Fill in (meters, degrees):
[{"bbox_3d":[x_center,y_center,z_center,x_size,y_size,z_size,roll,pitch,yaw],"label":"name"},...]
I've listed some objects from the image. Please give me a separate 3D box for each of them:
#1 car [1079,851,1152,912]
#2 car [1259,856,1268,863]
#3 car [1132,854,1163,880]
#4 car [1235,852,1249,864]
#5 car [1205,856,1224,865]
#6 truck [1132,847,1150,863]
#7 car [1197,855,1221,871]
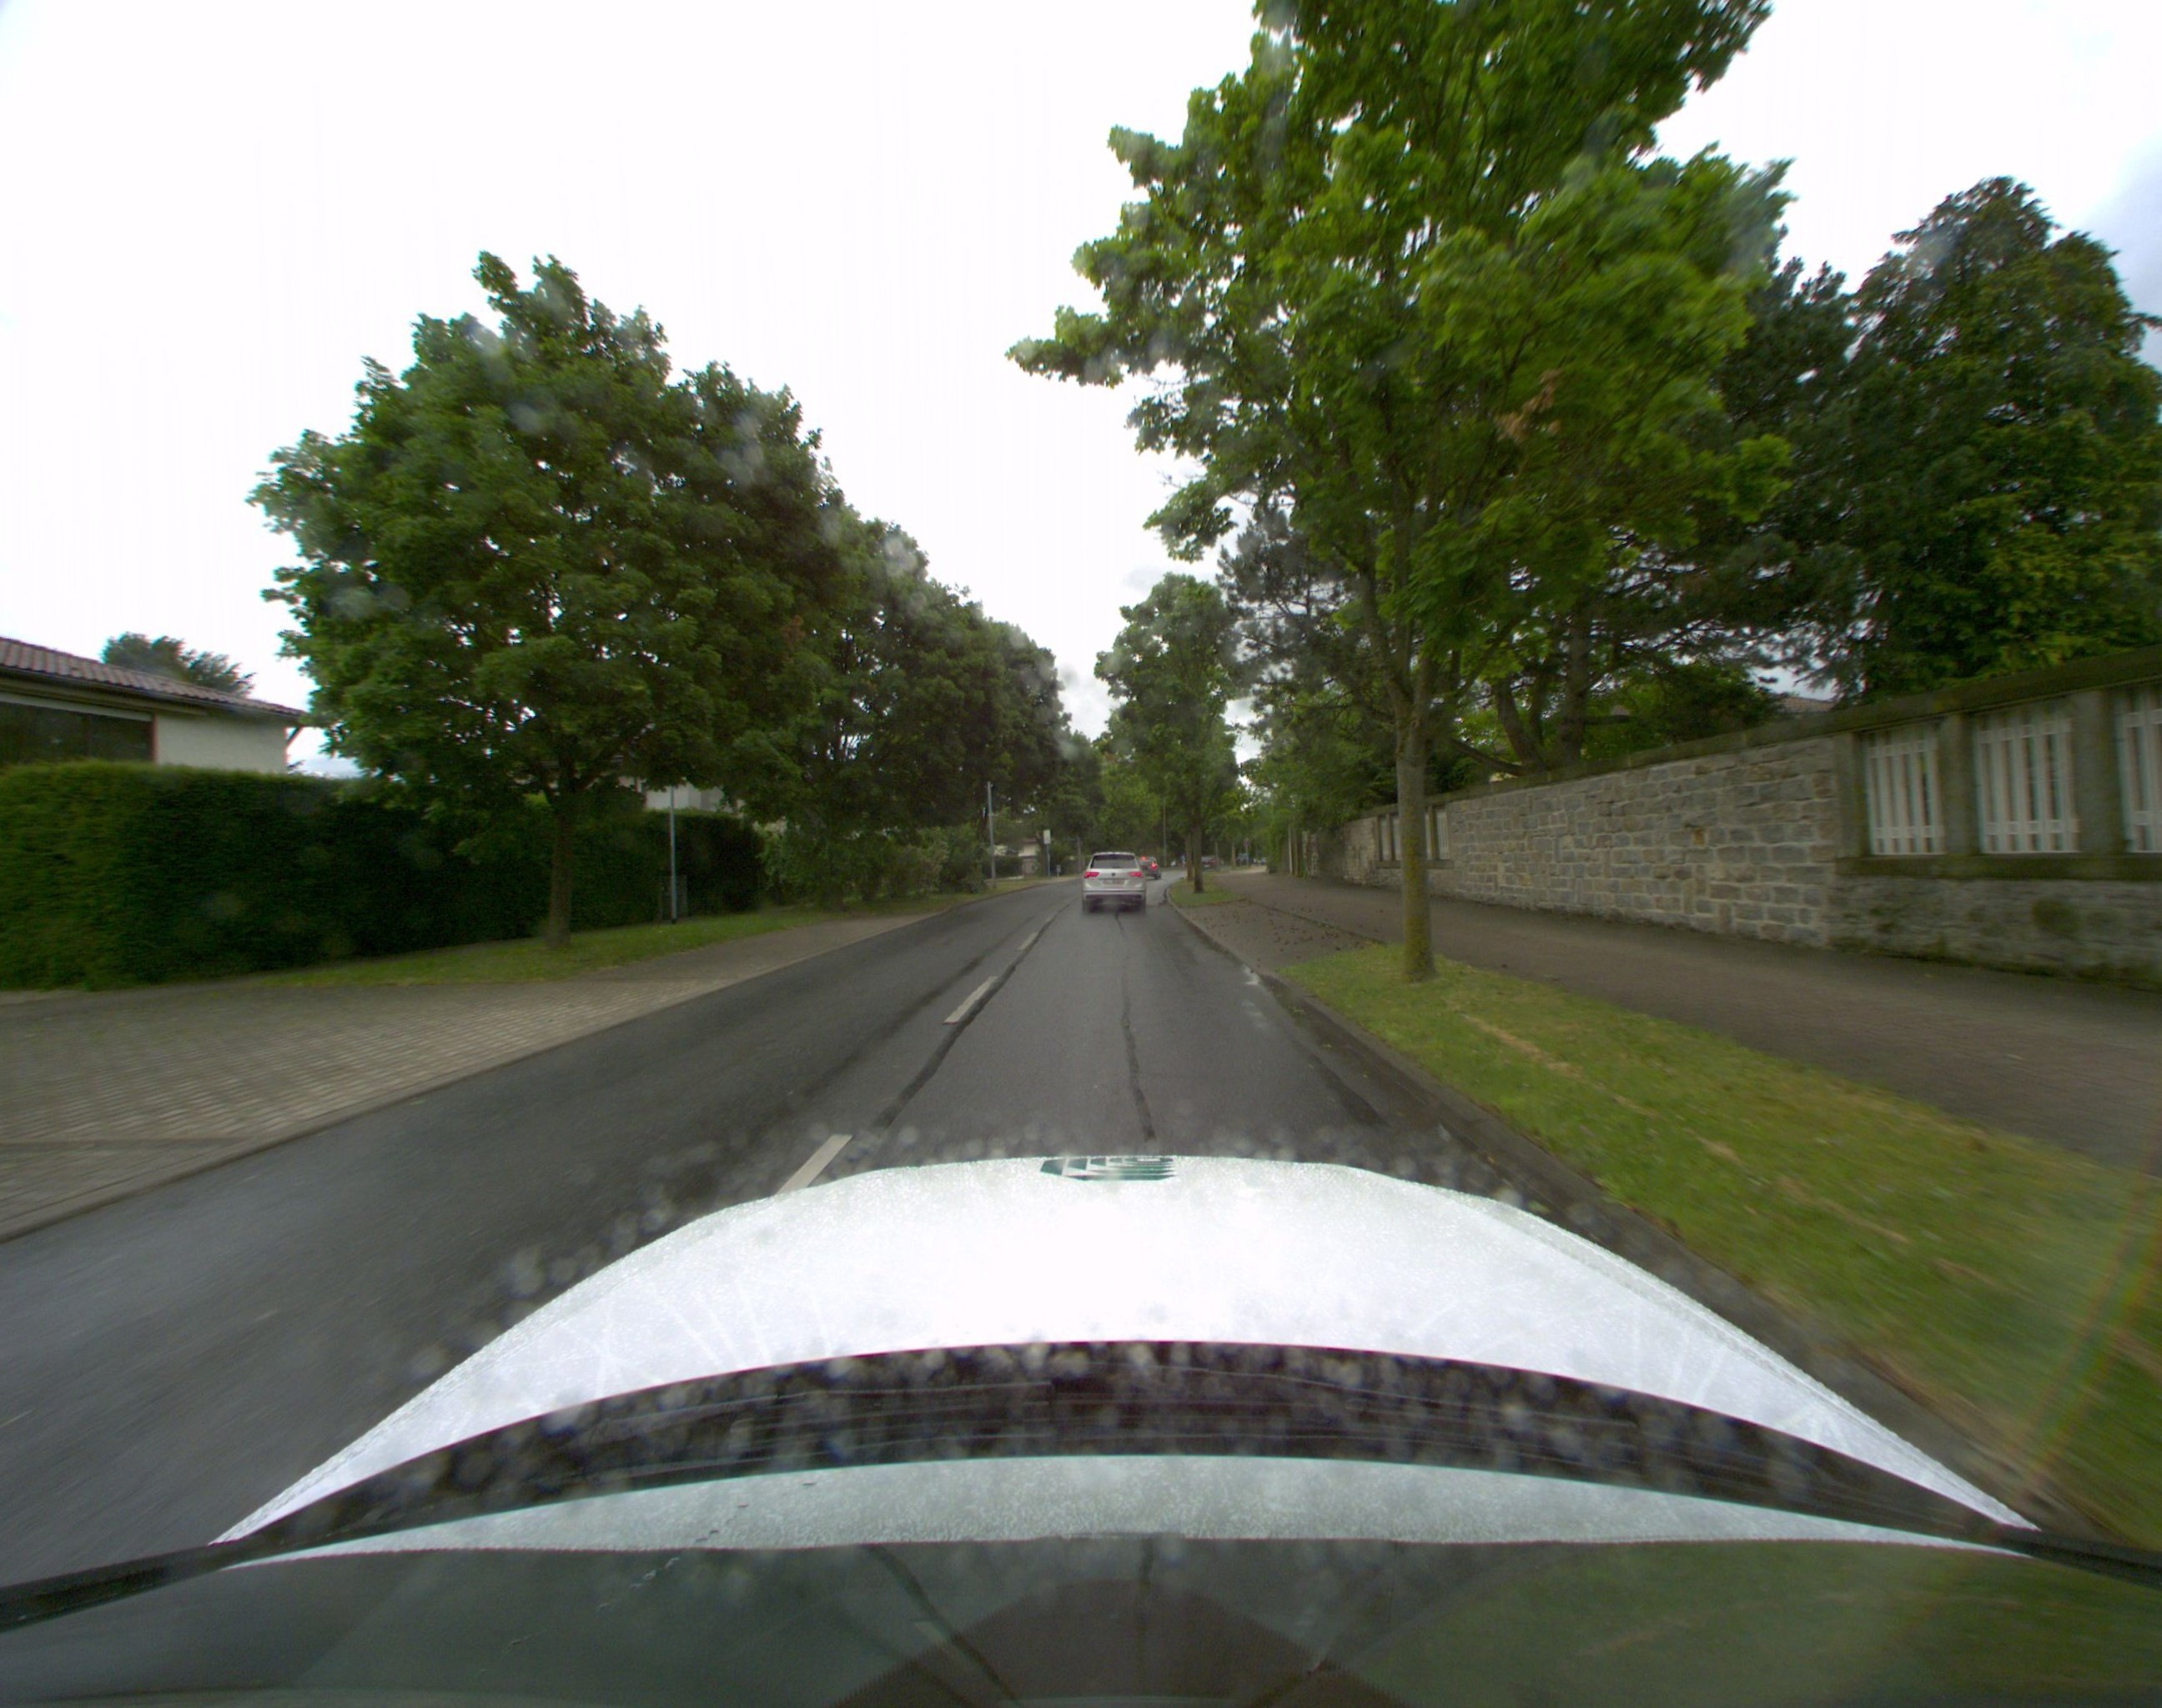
[{"bbox_3d":[0.950,0.753,24.134,1.990,1.632,4.000,0,0,0],"label":"car"},{"bbox_3d":[34.645,1.072,154.604,1.625,1.326,4.016,-1,0,15],"label":"car"},{"bbox_3d":[4.367,0.861,53.007,1.831,1.487,4.006,-4,-1,6],"label":"car"},{"bbox_3d":[22.028,0.555,111.596,1.829,1.487,4.012,-4,-1,11],"label":"car"},{"bbox_3d":[25.680,1.241,156.842,1.846,1.482,3.975,-2,-1,-18],"label":"car"},{"bbox_3d":[10.319,0.230,139.043,2.270,2.597,5.891,-3,-1,10],"label":"truck"},{"bbox_3d":[12.321,0.839,78.101,1.826,1.487,4.017,0,0,16],"label":"car"}]
